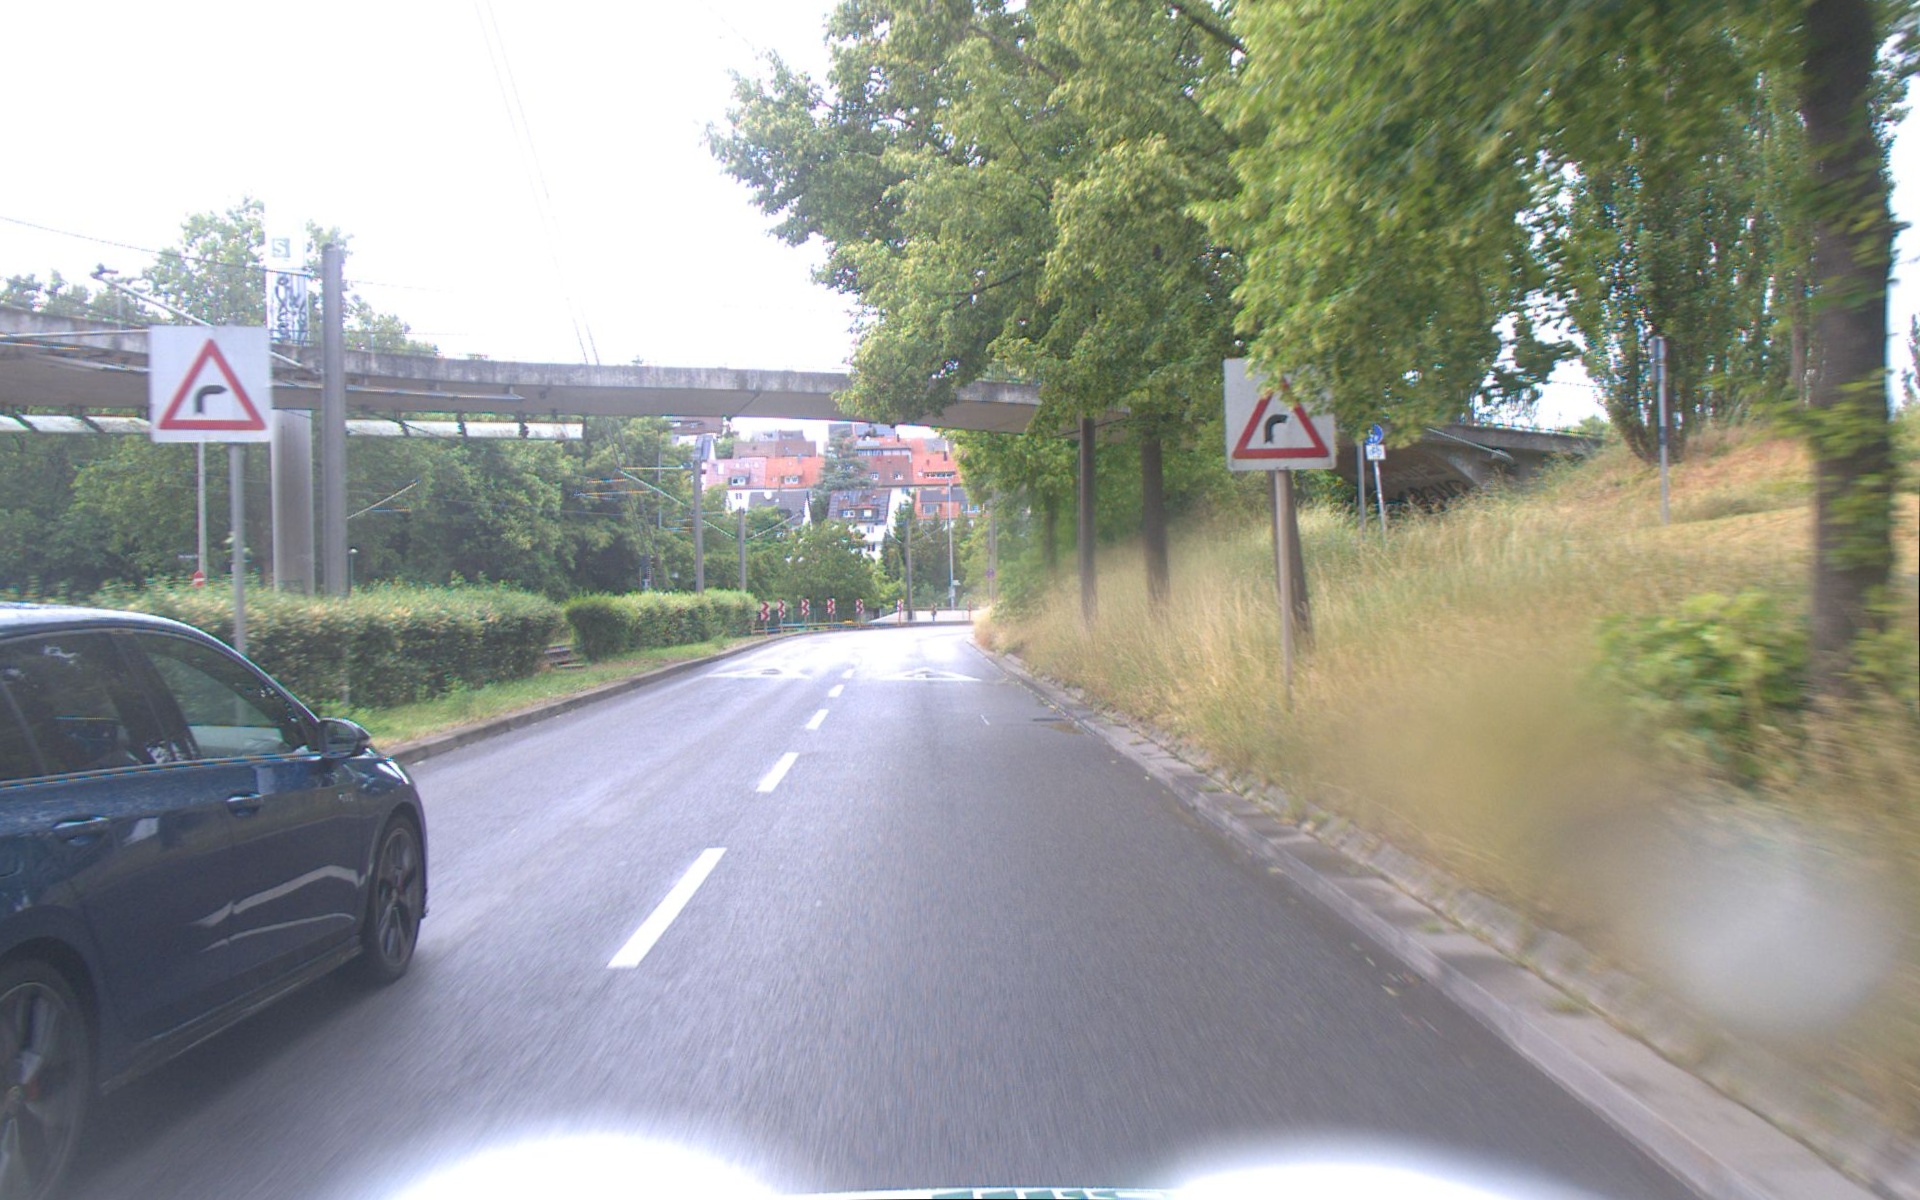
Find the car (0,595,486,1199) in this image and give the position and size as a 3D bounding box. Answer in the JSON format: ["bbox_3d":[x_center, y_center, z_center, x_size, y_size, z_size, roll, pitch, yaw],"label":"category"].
[{"bbox_3d":[-2.937,0.693,4.957,1.771,1.402,4.347,0,0,0],"label":"car"}]
